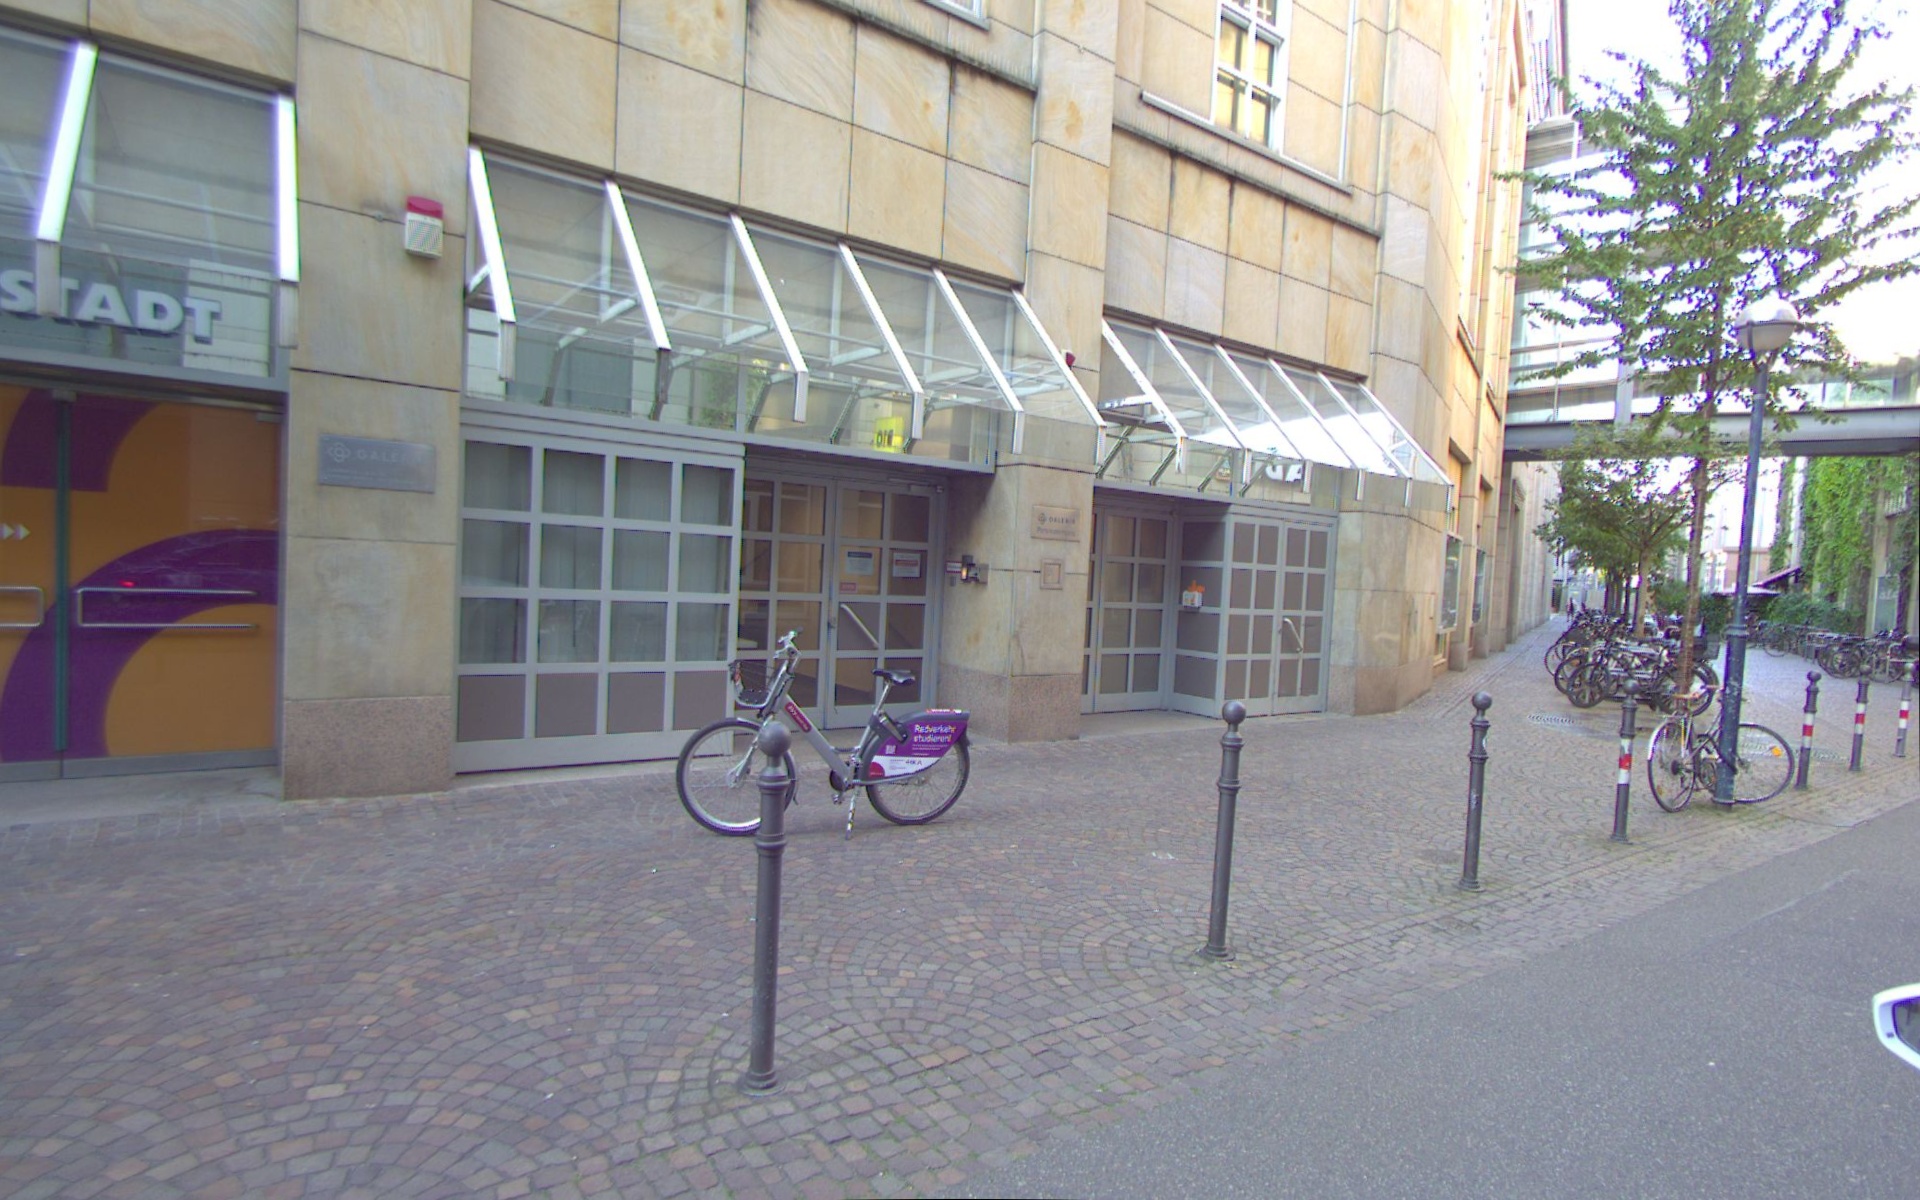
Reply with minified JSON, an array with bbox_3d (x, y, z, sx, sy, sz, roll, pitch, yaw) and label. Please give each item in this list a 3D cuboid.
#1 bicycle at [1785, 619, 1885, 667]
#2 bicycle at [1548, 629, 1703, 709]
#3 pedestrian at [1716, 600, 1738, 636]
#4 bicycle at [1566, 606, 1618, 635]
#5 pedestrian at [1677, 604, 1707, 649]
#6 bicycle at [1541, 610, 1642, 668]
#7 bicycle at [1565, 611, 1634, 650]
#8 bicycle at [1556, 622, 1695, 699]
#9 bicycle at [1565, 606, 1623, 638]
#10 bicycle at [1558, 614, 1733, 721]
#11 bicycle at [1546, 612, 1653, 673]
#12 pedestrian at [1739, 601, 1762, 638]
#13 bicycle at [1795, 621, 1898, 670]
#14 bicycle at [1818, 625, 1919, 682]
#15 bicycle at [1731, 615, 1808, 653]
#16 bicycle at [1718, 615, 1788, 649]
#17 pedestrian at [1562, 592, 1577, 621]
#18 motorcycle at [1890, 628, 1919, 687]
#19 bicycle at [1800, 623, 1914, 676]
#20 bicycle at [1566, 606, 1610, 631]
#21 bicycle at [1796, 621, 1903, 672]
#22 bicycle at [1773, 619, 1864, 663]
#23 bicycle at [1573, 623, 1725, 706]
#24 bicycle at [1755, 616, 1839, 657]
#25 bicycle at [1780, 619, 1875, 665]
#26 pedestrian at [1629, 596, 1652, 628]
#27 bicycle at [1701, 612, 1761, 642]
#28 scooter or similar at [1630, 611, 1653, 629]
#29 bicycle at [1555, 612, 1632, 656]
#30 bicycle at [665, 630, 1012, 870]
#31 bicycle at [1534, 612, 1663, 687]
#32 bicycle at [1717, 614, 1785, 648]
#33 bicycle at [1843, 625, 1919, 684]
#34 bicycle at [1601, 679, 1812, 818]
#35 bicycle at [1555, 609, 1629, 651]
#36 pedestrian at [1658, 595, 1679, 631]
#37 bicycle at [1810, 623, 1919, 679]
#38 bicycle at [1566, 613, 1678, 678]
[{"bbox_3d":[24.032,1.159,27.636,1.967,1.198,0.692,2,1,35],"label":"bicycle"},{"bbox_3d":[10.115,1.020,15.334,1.887,1.007,0.694,4,2,34],"label":"bicycle"},{"bbox_3d":[40.494,0.956,53.020,0.763,1.828,0.766,3,2,31],"label":"pedestrian"},{"bbox_3d":[28.295,0.910,44.992,1.889,1.198,0.693,4,2,37],"label":"bicycle"},{"bbox_3d":[25.924,0.940,35.591,0.737,1.529,0.636,3,2,32],"label":"pedestrian"},{"bbox_3d":[14.686,0.891,23.387,1.889,1.198,0.693,4,2,37],"label":"bicycle"},{"bbox_3d":[21.693,1.022,34.085,1.889,1.198,0.693,4,2,37],"label":"bicycle"},{"bbox_3d":[11.359,1.004,17.180,1.889,1.116,0.693,4,2,37],"label":"bicycle"},{"bbox_3d":[26.085,0.905,41.338,1.889,1.198,0.693,4,2,37],"label":"bicycle"},{"bbox_3d":[9.429,0.891,13.889,1.887,1.278,0.806,4,2,34],"label":"bicycle"},{"bbox_3d":[14.188,0.919,22.308,1.889,1.198,0.693,4,2,37],"label":"bicycle"},{"bbox_3d":[41.110,1.008,52.223,0.763,1.828,0.766,3,2,31],"label":"pedestrian"},{"bbox_3d":[23.579,1.194,26.766,1.967,1.198,0.692,2,1,35],"label":"bicycle"},{"bbox_3d":[20.912,1.203,22.906,1.967,1.198,0.694,2,1,35],"label":"bicycle"},{"bbox_3d":[27.374,1.132,34.009,1.967,1.198,0.692,2,1,35],"label":"bicycle"},{"bbox_3d":[29.568,1.186,37.493,1.967,1.198,0.692,2,1,35],"label":"bicycle"},{"bbox_3d":[40.178,0.425,66.252,0.763,1.828,0.633,3,2,31],"label":"pedestrian"},{"bbox_3d":[19.838,1.182,20.093,1.724,1.171,0.592,2,1,37],"label":"motorcycle"},{"bbox_3d":[22.050,1.195,24.747,1.967,1.198,0.800,2,1,35],"label":"bicycle"},{"bbox_3d":[33.709,0.974,53.892,1.889,1.198,0.693,4,2,37],"label":"bicycle"},{"bbox_3d":[22.948,1.178,25.968,1.967,1.198,0.800,2,1,35],"label":"bicycle"},{"bbox_3d":[25.359,1.198,29.716,1.967,1.198,0.692,2,1,35],"label":"bicycle"},{"bbox_3d":[10.845,0.990,15.879,1.887,1.116,0.694,4,2,34],"label":"bicycle"},{"bbox_3d":[26.617,1.152,31.975,1.967,1.198,0.692,2,1,35],"label":"bicycle"},{"bbox_3d":[24.767,1.174,28.715,1.967,1.198,0.692,2,1,35],"label":"bicycle"},{"bbox_3d":[35.818,0.629,52.852,0.879,1.661,0.909,3,2,32],"label":"pedestrian"},{"bbox_3d":[32.514,1.132,42.399,1.967,1.198,0.692,2,1,35],"label":"bicycle"},{"bbox_3d":[35.336,1.016,52.085,0.879,0.854,0.909,3,2,32],"label":"scooter or similar"},{"bbox_3d":[19.502,1.030,30.941,1.889,1.198,0.693,4,2,37],"label":"bicycle"},{"bbox_3d":[-0.671,0.767,5.530,1.750,1.127,0.692,2,2,-22],"label":"bicycle"},{"bbox_3d":[11.633,0.866,18.334,1.889,1.198,0.693,4,2,37],"label":"bicycle"},{"bbox_3d":[30.051,1.175,38.198,1.967,1.198,0.692,2,1,35],"label":"bicycle"},{"bbox_3d":[20.604,1.195,21.874,1.967,1.198,0.694,2,1,35],"label":"bicycle"},{"bbox_3d":[5.931,1.142,7.967,1.670,0.979,0.504,2,2,-22],"label":"bicycle"},{"bbox_3d":[19.936,0.929,31.712,1.889,1.198,0.693,4,2,37],"label":"bicycle"},{"bbox_3d":[36.215,0.654,51.351,0.754,1.828,0.775,3,2,32],"label":"pedestrian"},{"bbox_3d":[21.414,1.188,23.705,1.967,1.198,0.800,2,1,35],"label":"bicycle"},{"bbox_3d":[14.015,0.942,21.291,1.889,1.198,0.693,4,2,37],"label":"bicycle"}]
